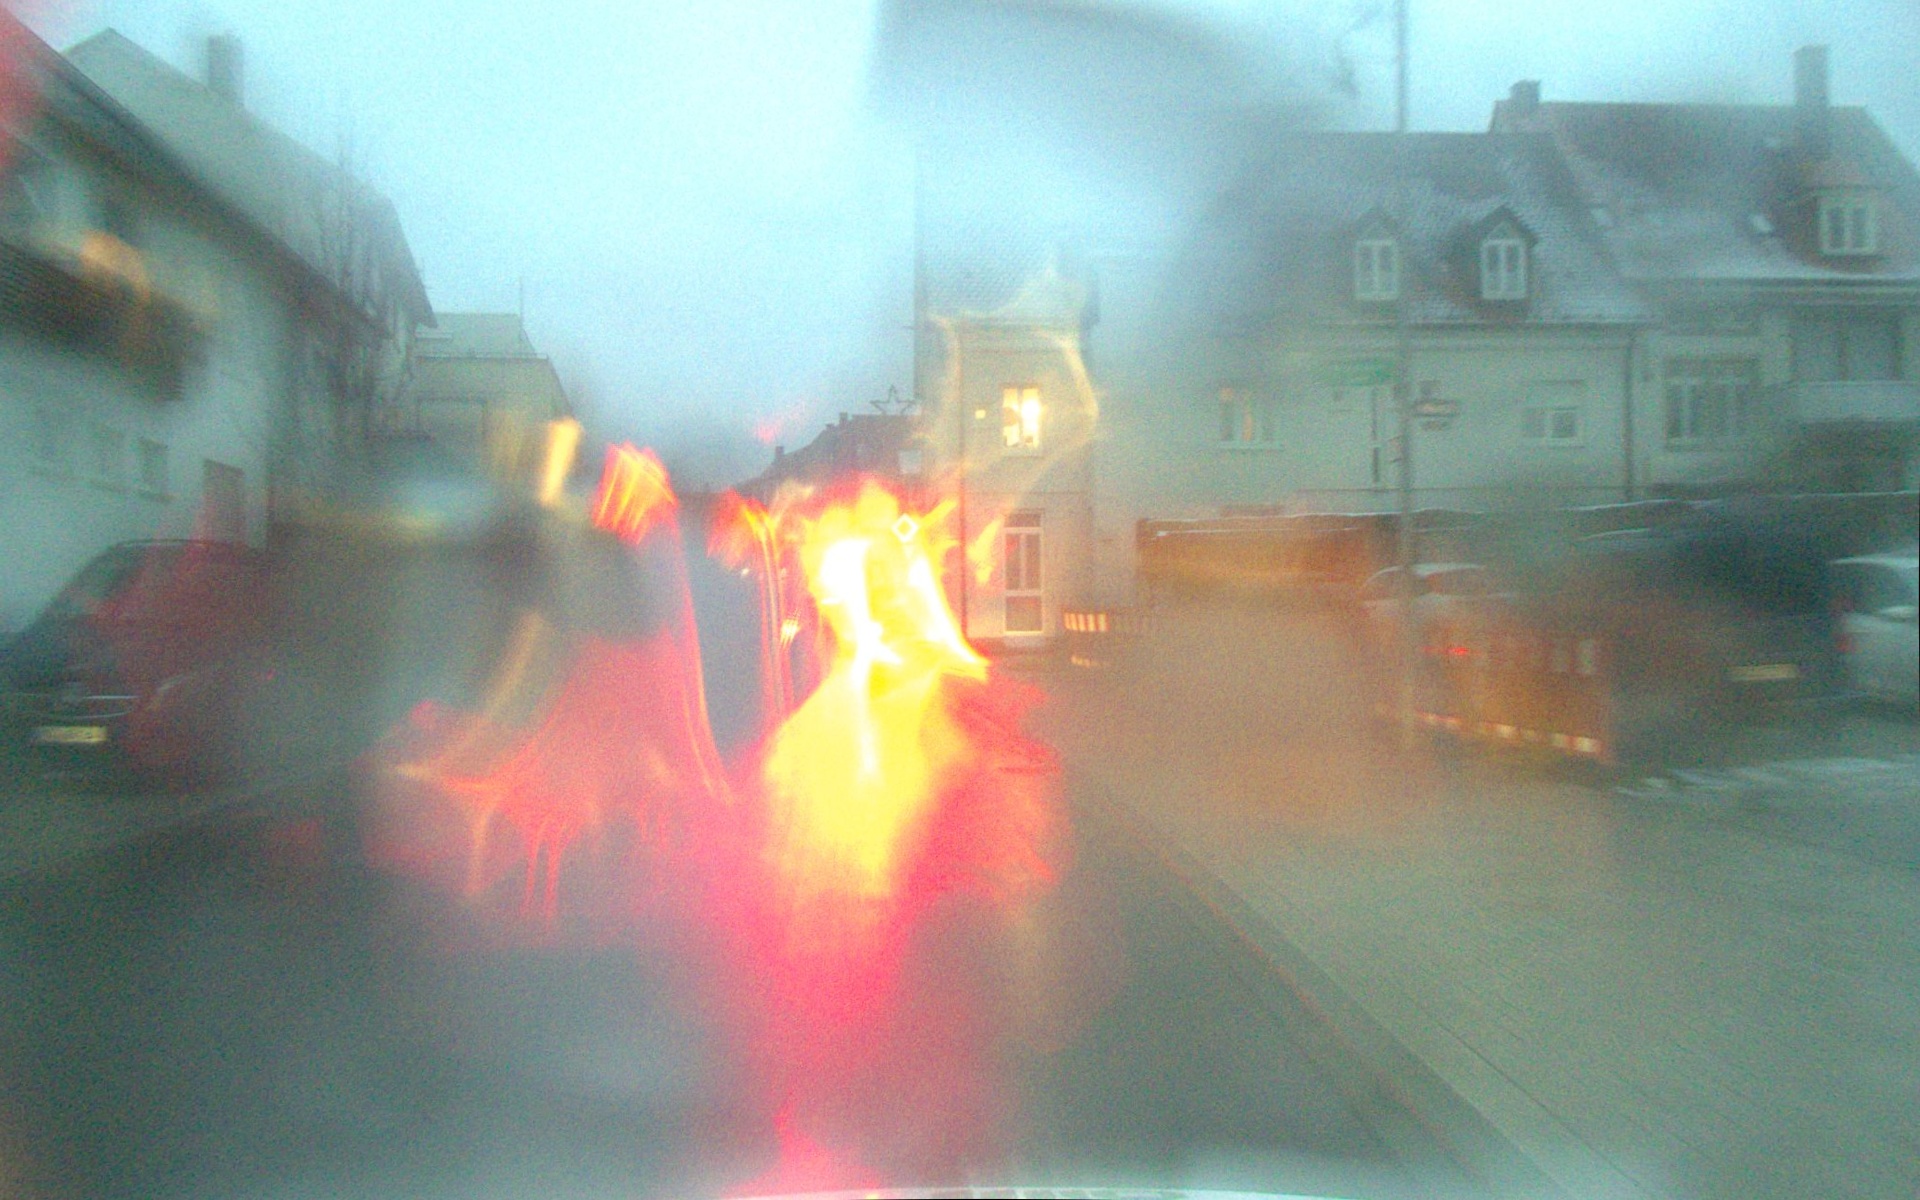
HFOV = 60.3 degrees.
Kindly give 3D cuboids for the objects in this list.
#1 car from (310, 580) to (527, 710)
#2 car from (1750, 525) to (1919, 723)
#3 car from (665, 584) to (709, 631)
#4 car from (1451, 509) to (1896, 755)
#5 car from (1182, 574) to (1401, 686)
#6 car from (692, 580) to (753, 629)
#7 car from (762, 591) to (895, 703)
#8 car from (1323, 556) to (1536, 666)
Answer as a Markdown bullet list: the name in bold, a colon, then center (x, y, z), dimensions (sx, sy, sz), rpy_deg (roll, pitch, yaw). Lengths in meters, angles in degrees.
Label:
- **car**: center (-7.634, 0.565, 23.786), dimensions (1.875, 1.555, 4.543), rpy_deg (4, 1, -5)
- **car**: center (8.920, 0.166, 14.494), dimensions (1.953, 1.639, 4.174), rpy_deg (-3, -1, 0)
- **car**: center (-13.296, 0.352, 80.724), dimensions (1.956, 2.241, 3.993), rpy_deg (0, 0, -8)
- **car**: center (6.123, 0.228, 14.852), dimensions (1.953, 1.796, 4.349), rpy_deg (-3, 0, -2)
- **car**: center (4.765, 0.384, 24.308), dimensions (1.854, 1.488, 3.622), rpy_deg (-1, 1, -13)
- **car**: center (-8.236, 0.133, 57.073), dimensions (1.957, 1.616, 3.991), rpy_deg (0, 0, -10)
- **car**: center (-2.072, 0.656, 25.148), dimensions (1.780, 1.560, 3.993), rpy_deg (0, 0, -8)
- **car**: center (7.090, 0.133, 25.327), dimensions (1.690, 1.487, 3.625), rpy_deg (-3, 1, -10)
